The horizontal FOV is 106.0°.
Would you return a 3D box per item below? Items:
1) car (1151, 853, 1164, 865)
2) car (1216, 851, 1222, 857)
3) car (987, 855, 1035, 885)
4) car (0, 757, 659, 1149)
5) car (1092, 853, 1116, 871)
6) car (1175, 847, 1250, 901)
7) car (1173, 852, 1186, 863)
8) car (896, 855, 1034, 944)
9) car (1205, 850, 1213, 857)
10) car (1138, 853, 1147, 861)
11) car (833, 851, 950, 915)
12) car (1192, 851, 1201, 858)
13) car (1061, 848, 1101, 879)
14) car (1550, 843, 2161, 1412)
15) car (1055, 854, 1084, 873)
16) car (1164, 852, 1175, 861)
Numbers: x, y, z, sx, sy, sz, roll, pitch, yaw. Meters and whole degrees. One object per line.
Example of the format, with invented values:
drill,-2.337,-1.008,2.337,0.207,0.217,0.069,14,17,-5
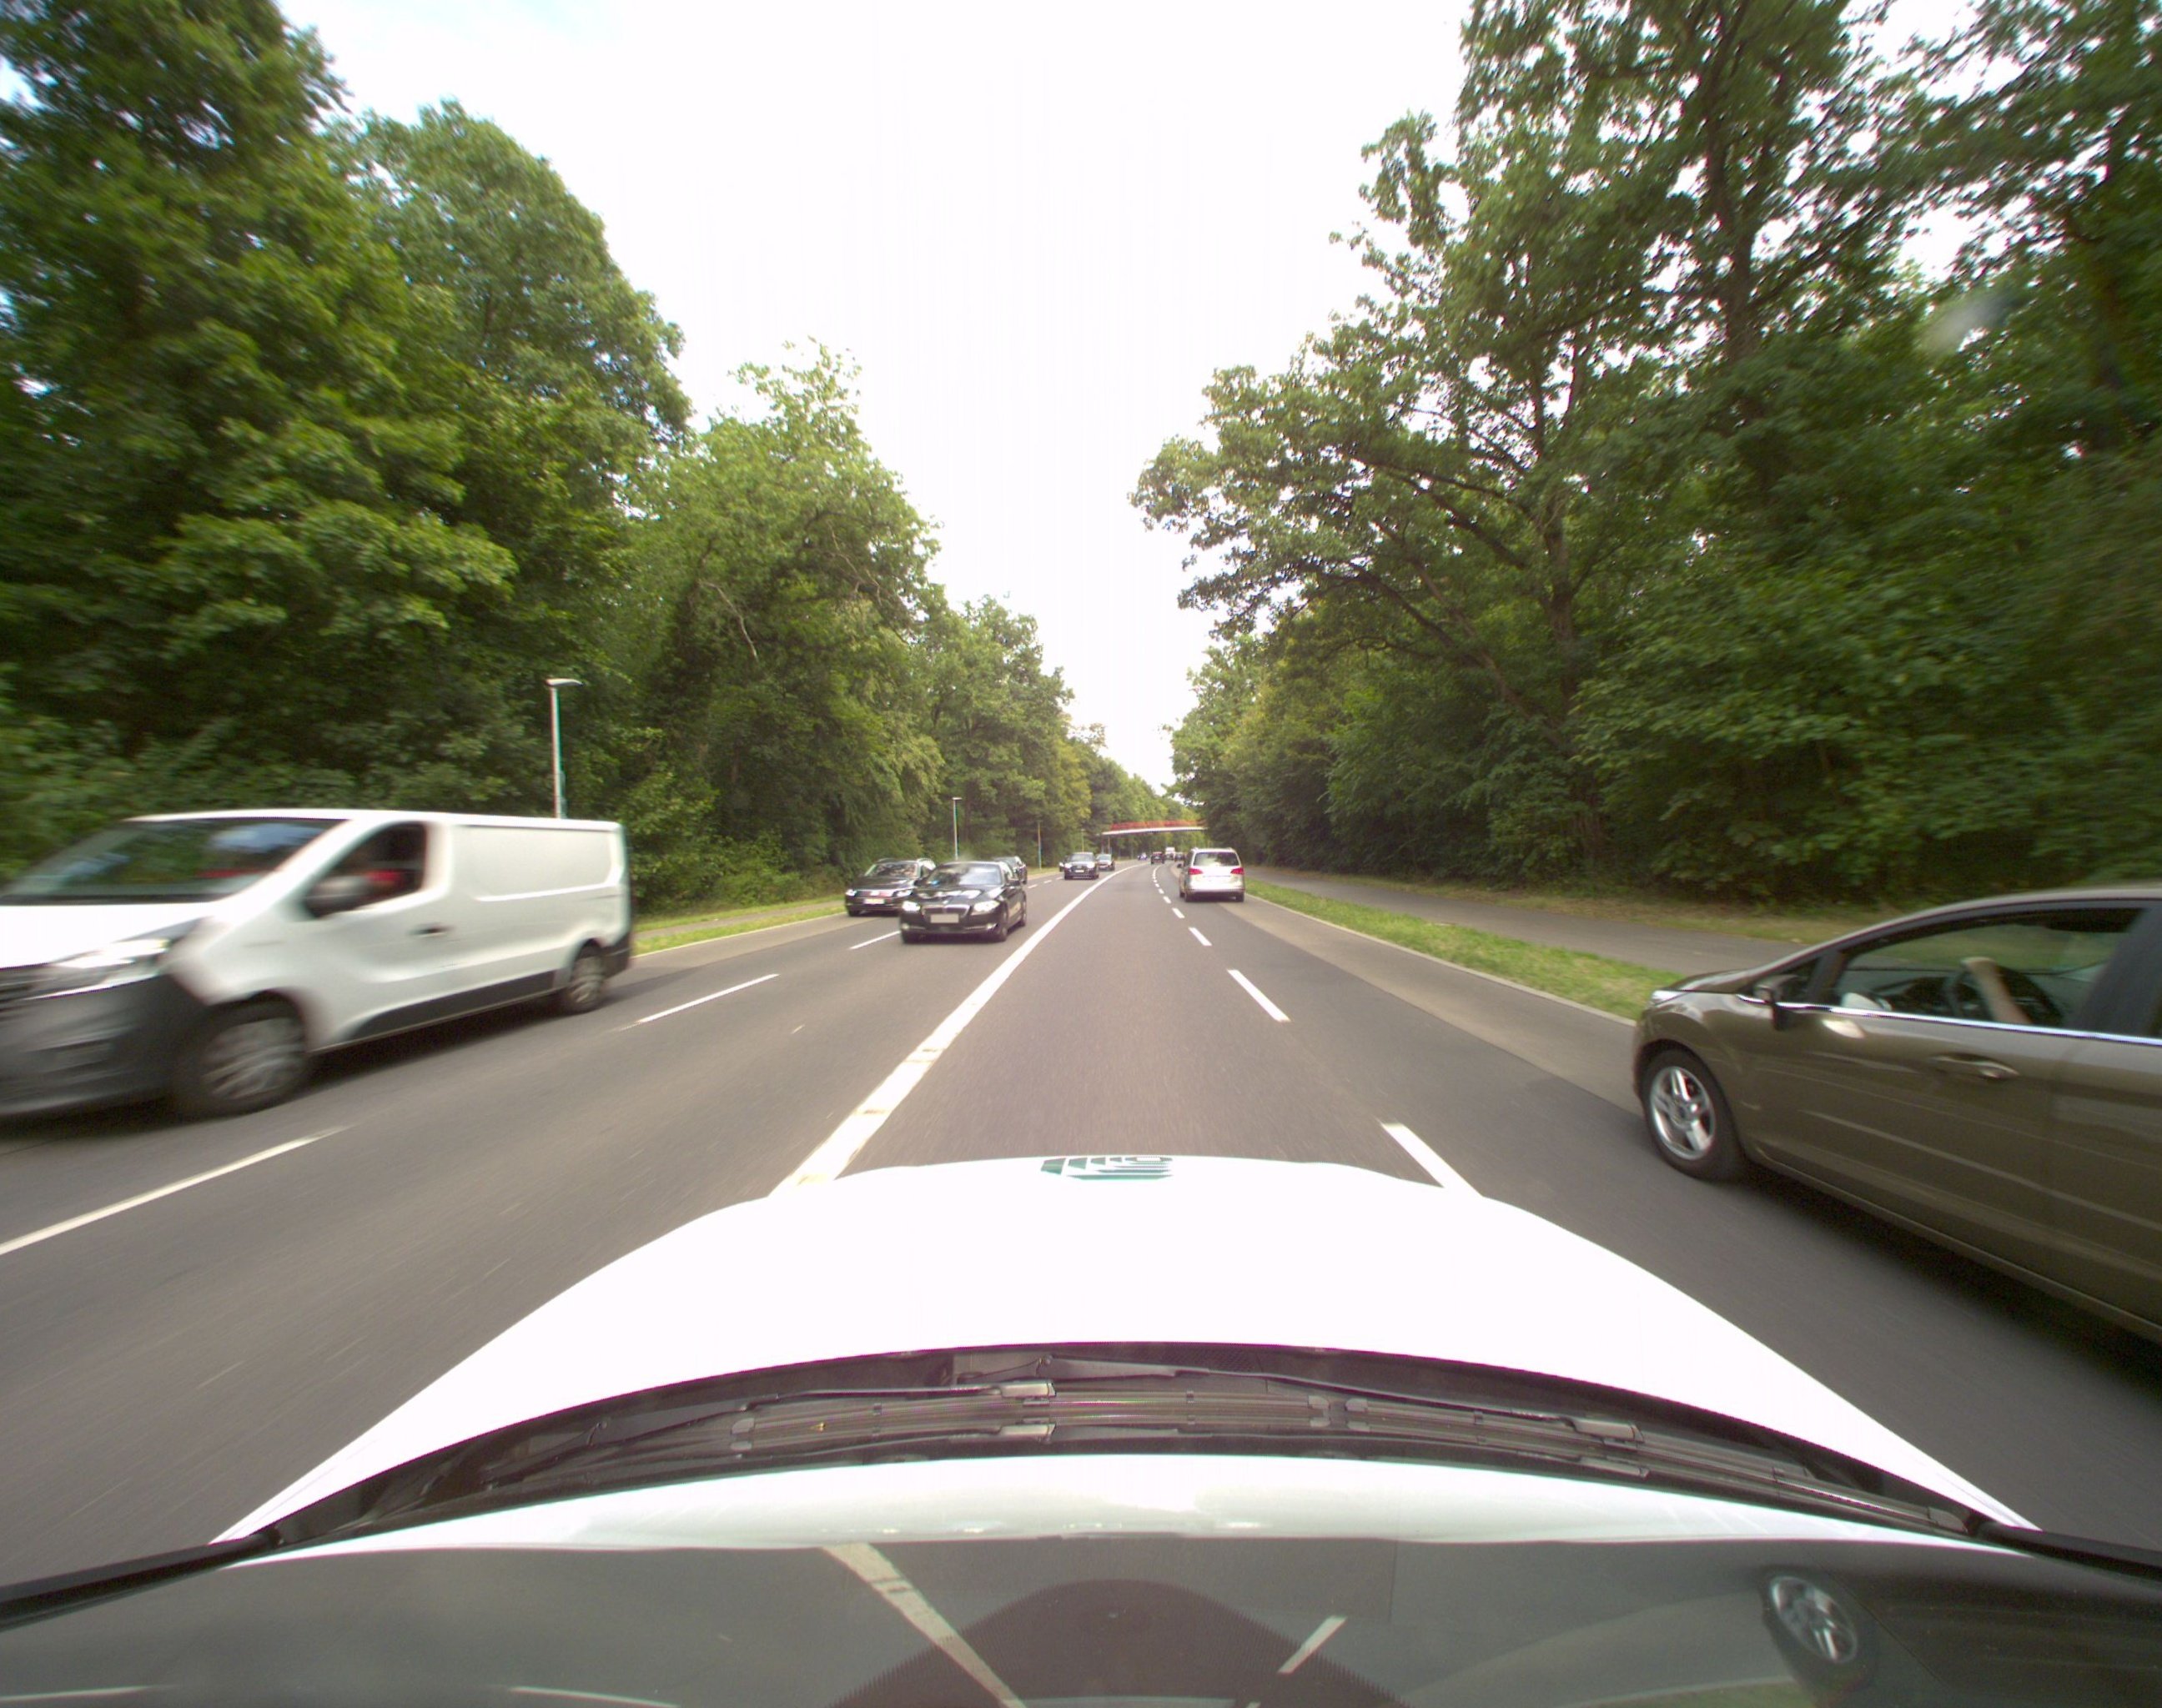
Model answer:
car,10.756,0.676,114.075,1.720,1.587,4.007,0,-1,6
car,43.932,-0.044,259.782,1.791,1.667,4.012,0,-1,12
car,-3.581,0.789,42.537,1.807,1.420,4.523,-1,0,4
car,-5.905,0.567,6.761,1.986,2.014,5.056,-2,-1,2
car,2.045,0.704,72.179,1.689,1.386,3.833,-4,-1,6
car,4.200,0.630,26.652,1.985,1.607,4.003,1,-1,3
car,16.787,0.556,138.450,1.982,1.750,4.009,0,-1,8
car,-2.097,0.801,16.053,1.878,1.478,4.521,-1,-1,3
car,35.928,-0.172,228.540,1.980,1.706,4.014,-4,-1,13
car,12.482,0.550,164.998,1.732,1.596,4.006,1,-1,5
car,-5.028,0.753,22.322,1.877,1.558,4.523,-1,-1,4
car,27.594,0.072,194.669,1.795,1.667,4.005,1,-1,5
car,0.040,0.576,49.142,1.954,1.706,4.005,-4,-1,4
car,3.543,0.702,2.831,1.629,1.420,4.001,1,-1,2
car,-0.957,0.843,72.456,1.983,1.552,4.008,0,-1,8
car,16.813,0.530,154.207,1.982,1.697,4.009,0,-1,8
